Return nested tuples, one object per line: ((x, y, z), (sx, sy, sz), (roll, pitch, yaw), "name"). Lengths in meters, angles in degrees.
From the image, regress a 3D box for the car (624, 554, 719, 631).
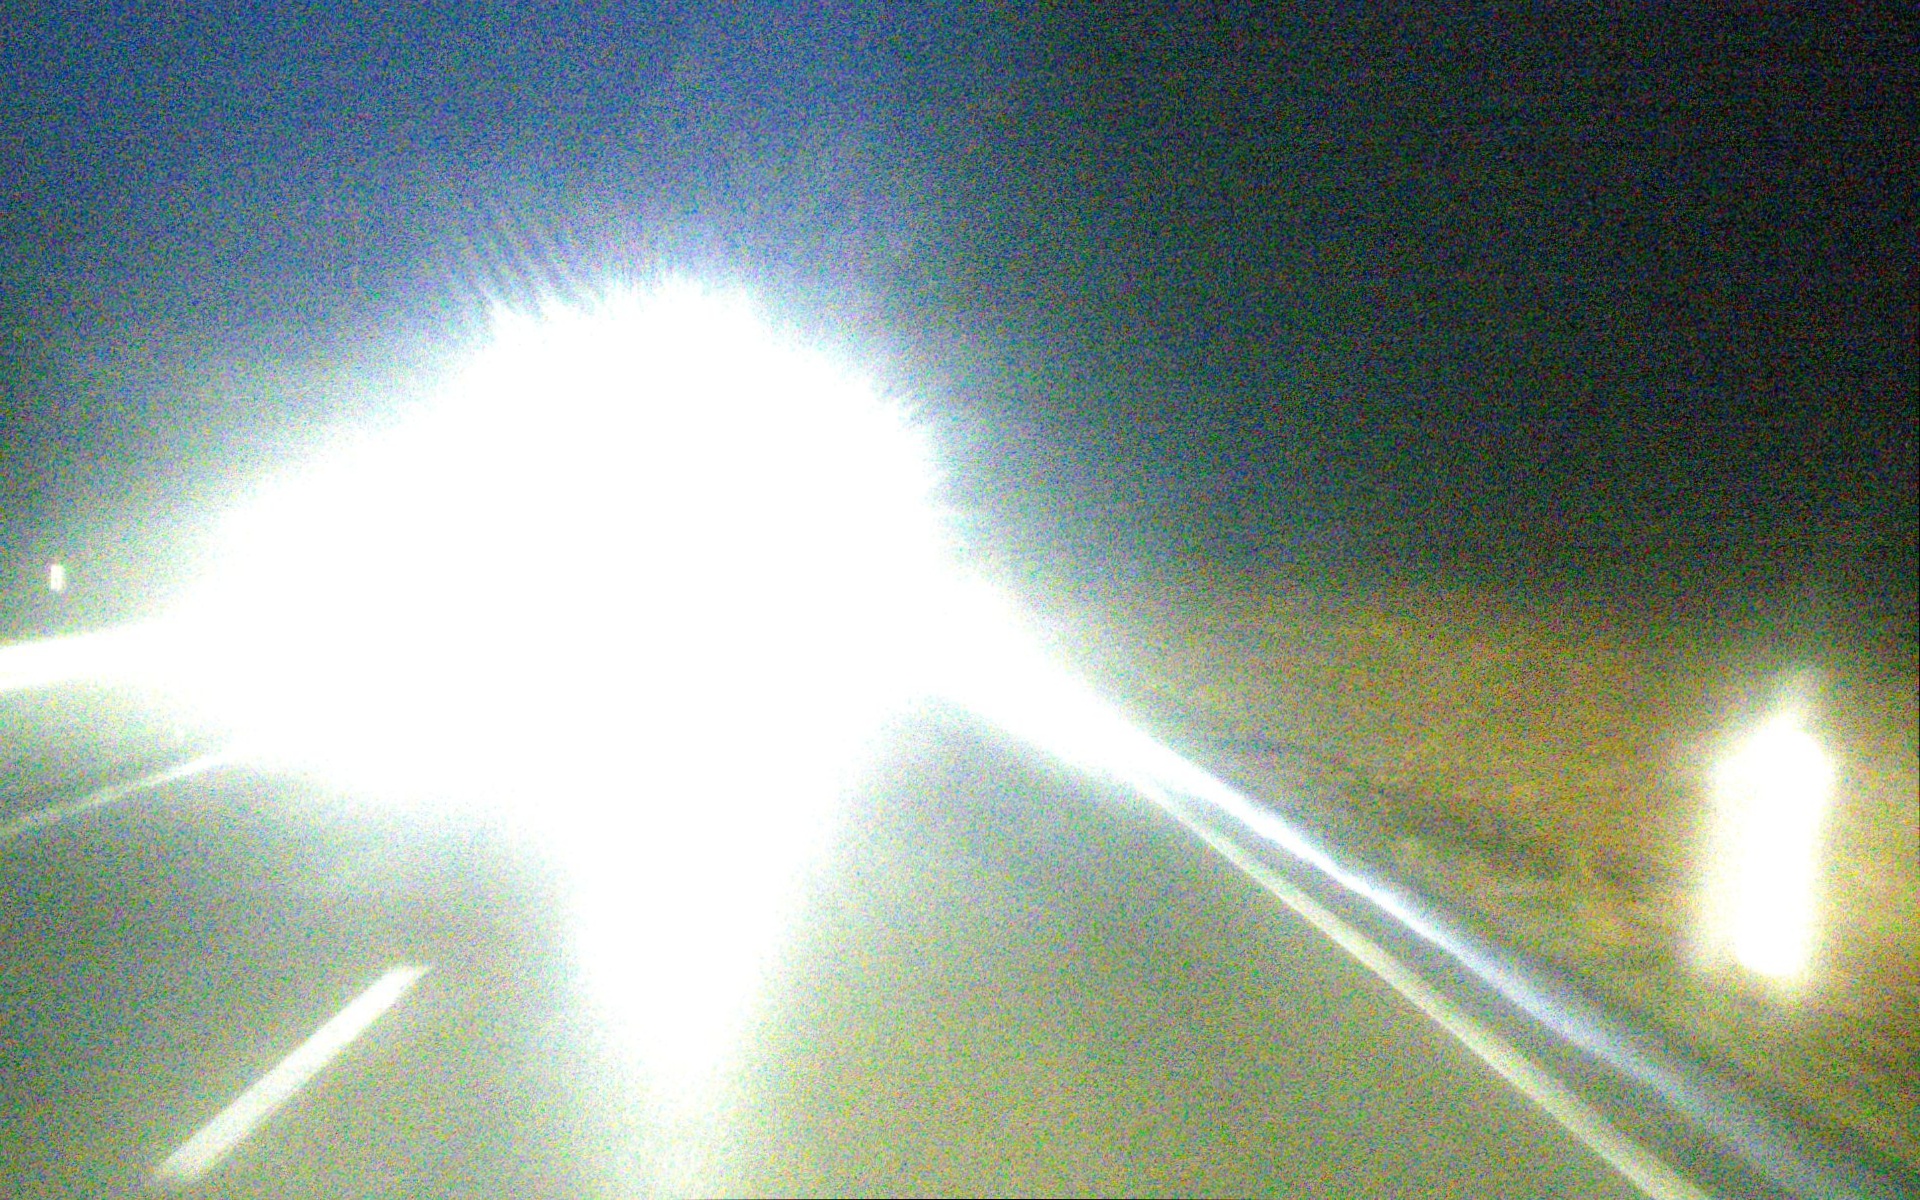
((-6.130, -0.183, 73.459), (1.829, 1.562, 3.780), (1, 1, -2), "car")
